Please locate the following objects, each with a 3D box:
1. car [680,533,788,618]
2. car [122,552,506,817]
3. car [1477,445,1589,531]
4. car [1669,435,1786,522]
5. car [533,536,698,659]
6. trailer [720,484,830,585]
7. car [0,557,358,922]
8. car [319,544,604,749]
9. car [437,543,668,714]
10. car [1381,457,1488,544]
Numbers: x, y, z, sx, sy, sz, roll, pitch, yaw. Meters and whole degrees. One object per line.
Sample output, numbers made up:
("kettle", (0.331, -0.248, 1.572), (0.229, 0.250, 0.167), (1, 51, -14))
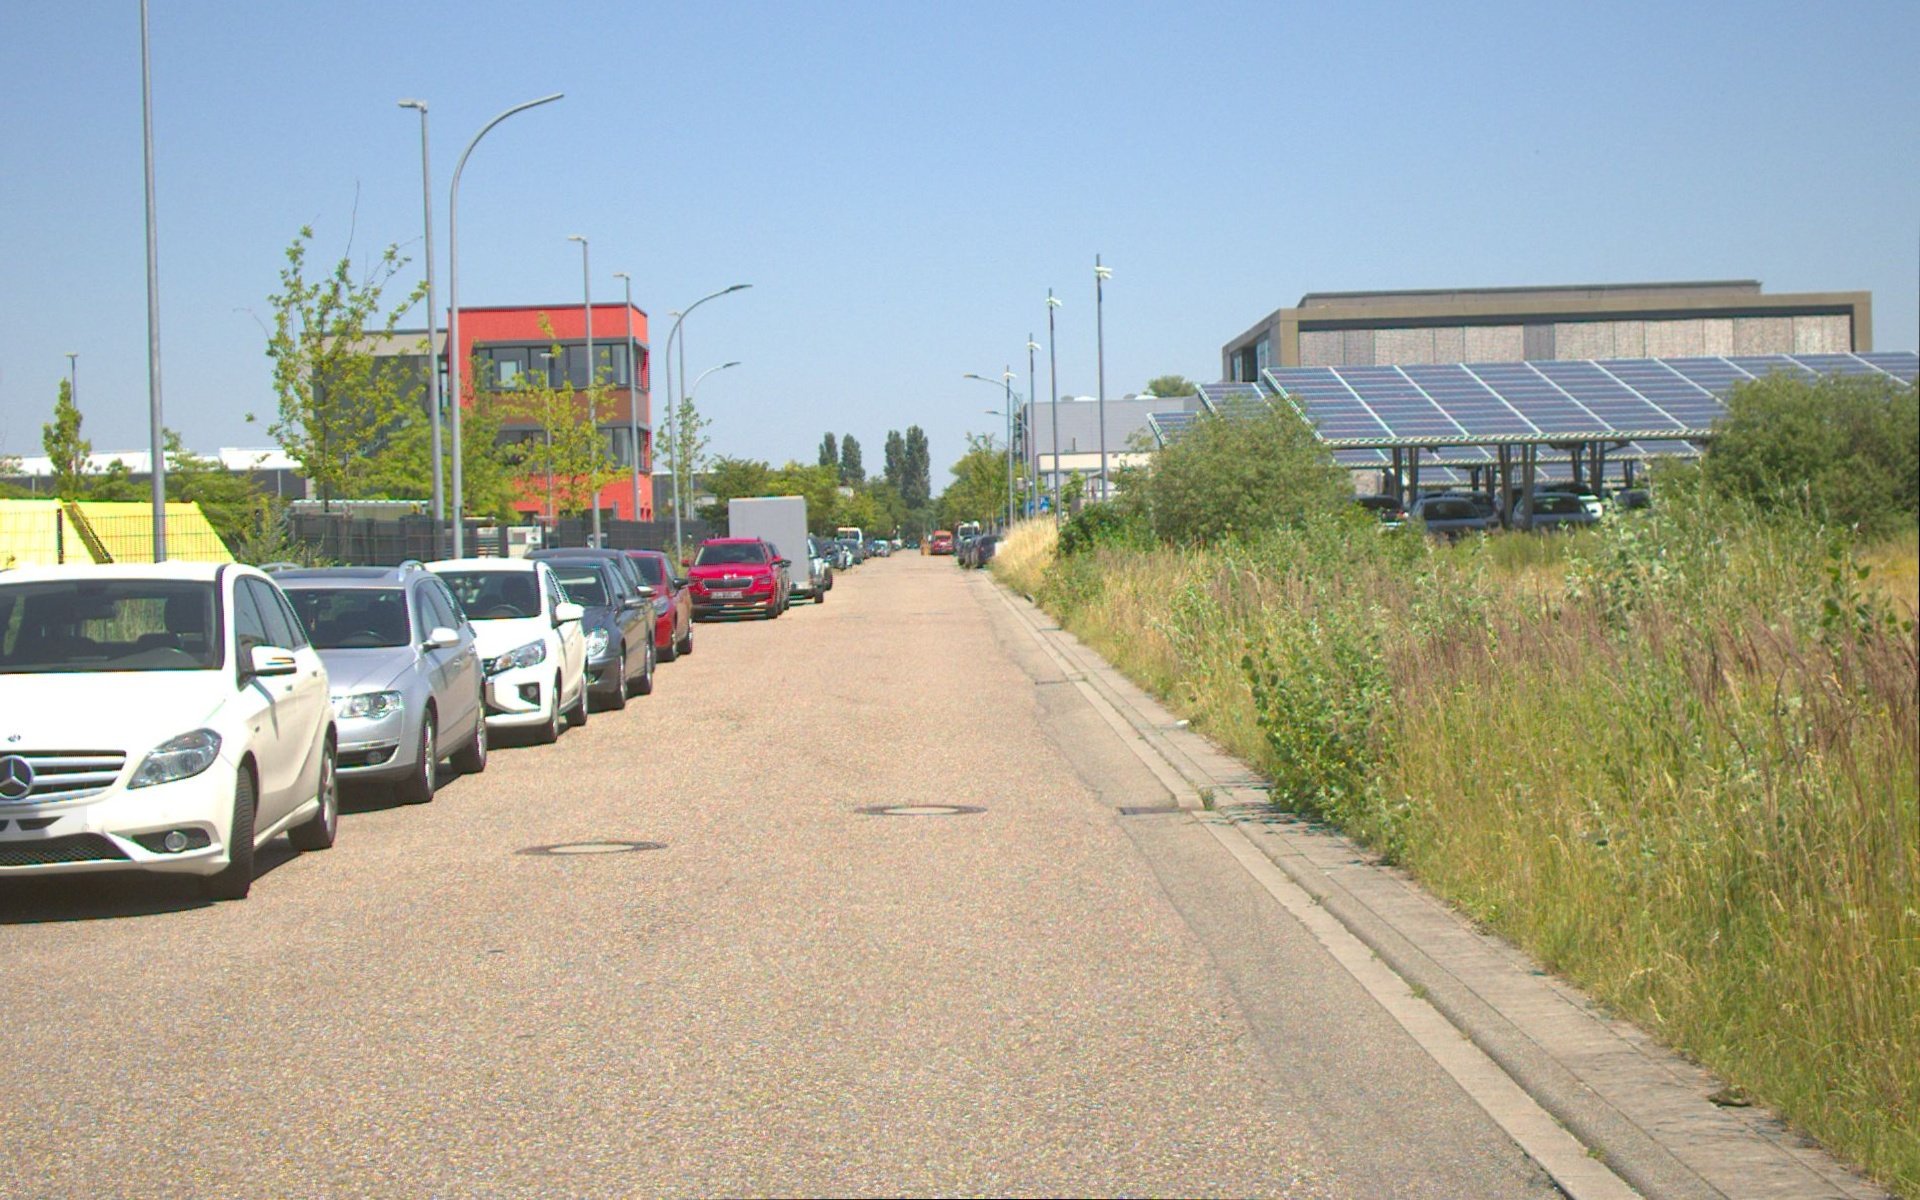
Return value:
("car", (-4.281, -0.489, 65.601), (1.787, 1.515, 3.983), (-2, 1, 0))
("car", (-4.185, 0.485, 22.867), (1.787, 1.515, 3.983), (-2, 1, 0))
("car", (14.098, -2.740, 84.806), (1.993, 2.007, 4.000), (-2, 1, -1))
("car", (18.895, -2.977, 84.811), (1.878, 2.007, 4.000), (-2, 1, -1))
("car", (-4.582, -0.071, 46.195), (1.787, 1.515, 3.983), (-2, 1, 0))
("trailer", (-4.110, -1.455, 77.112), (2.201, 2.130, 4.286), (-2, 1, 0))
("car", (-4.213, 0.595, 16.900), (1.787, 1.515, 3.983), (-2, 1, 0))
("car", (-4.097, 0.330, 28.830), (1.787, 1.515, 3.983), (-2, 1, 0))
("car", (-3.972, 0.236, 34.076), (1.787, 1.515, 3.983), (-2, 1, 0))
("car", (11.649, -2.428, 84.641), (1.993, 2.007, 4.000), (-2, 1, -1))
